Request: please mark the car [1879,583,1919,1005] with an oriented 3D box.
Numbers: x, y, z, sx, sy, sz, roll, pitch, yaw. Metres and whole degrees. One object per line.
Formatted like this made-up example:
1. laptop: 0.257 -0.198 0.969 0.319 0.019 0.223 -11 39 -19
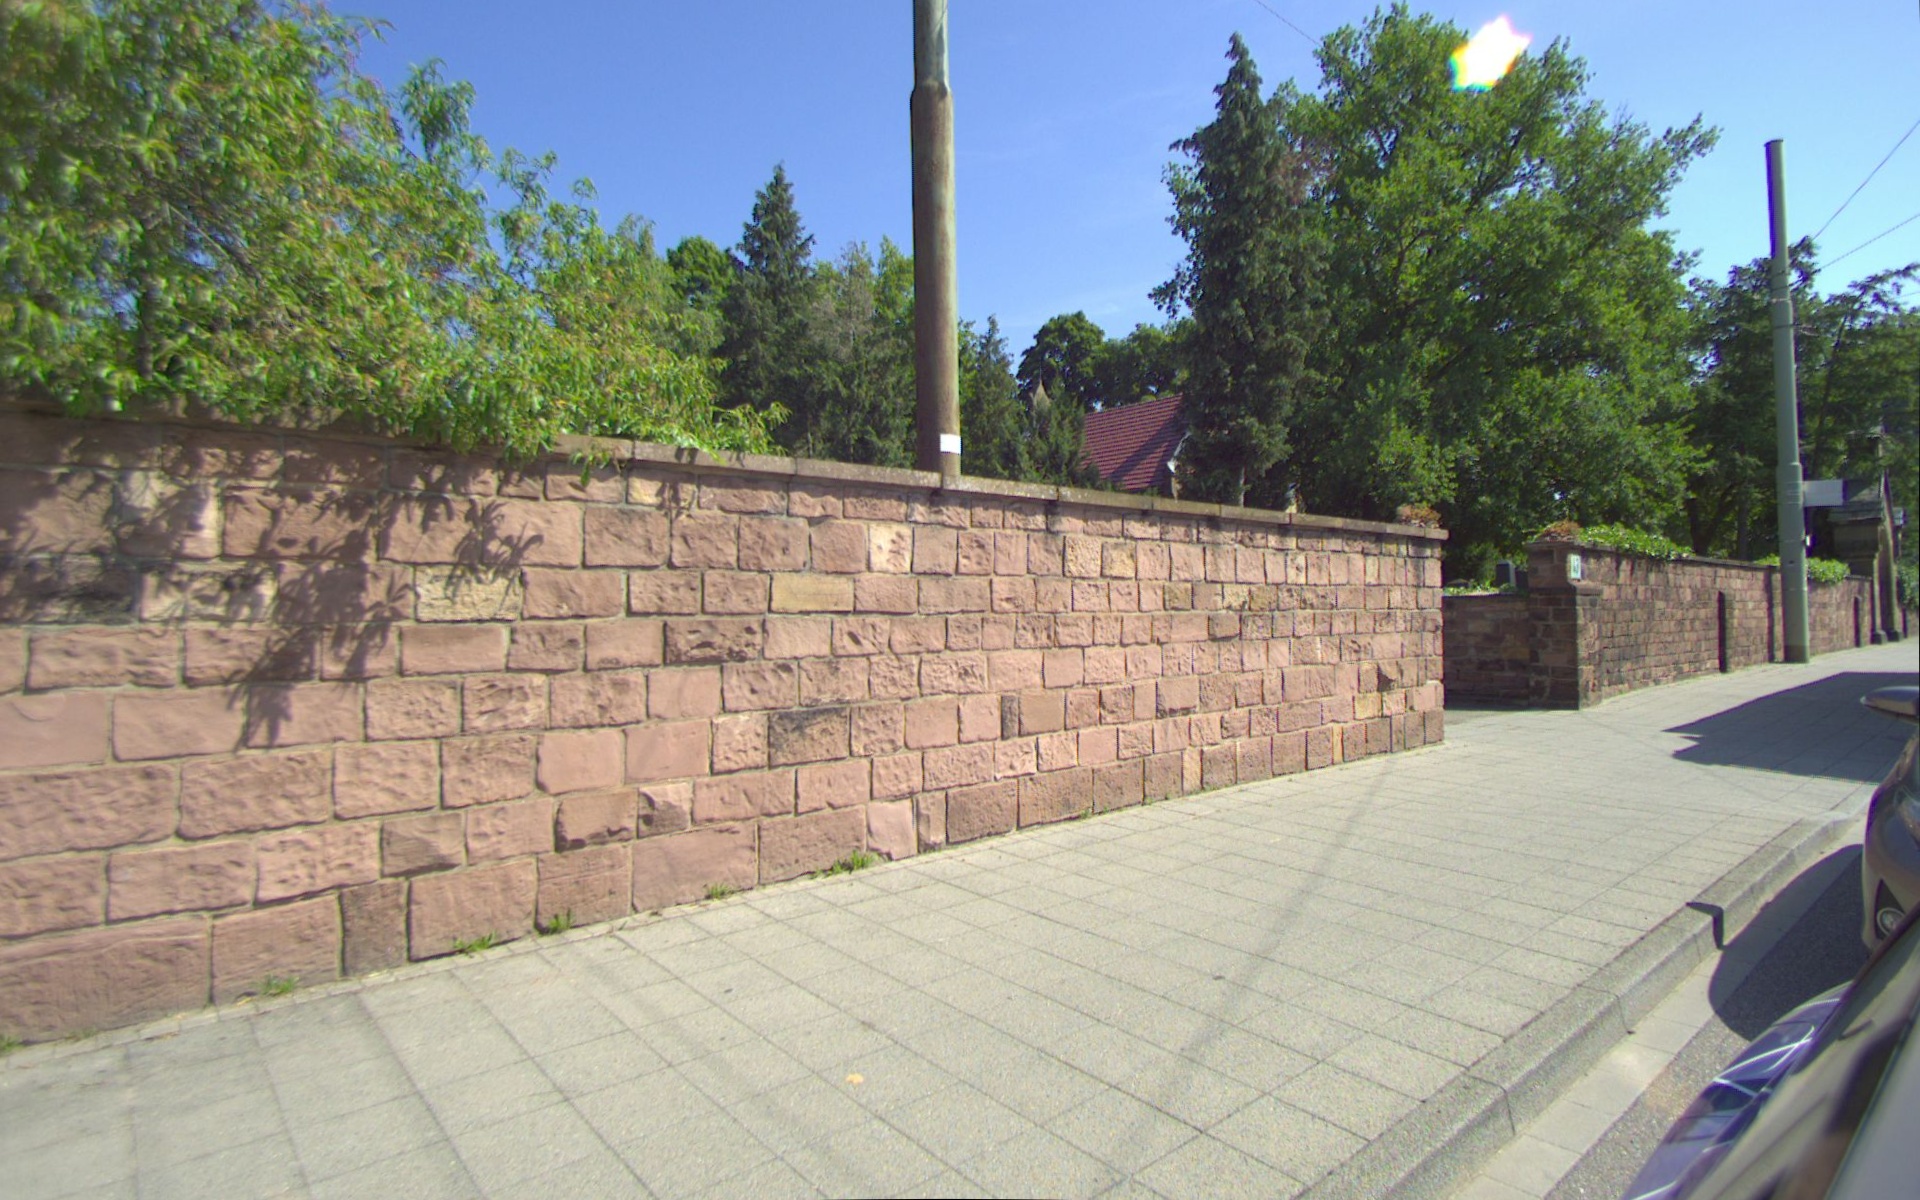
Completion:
1. car: 5.134 0.643 4.105 3.930 1.400 1.653 0 0 -41
